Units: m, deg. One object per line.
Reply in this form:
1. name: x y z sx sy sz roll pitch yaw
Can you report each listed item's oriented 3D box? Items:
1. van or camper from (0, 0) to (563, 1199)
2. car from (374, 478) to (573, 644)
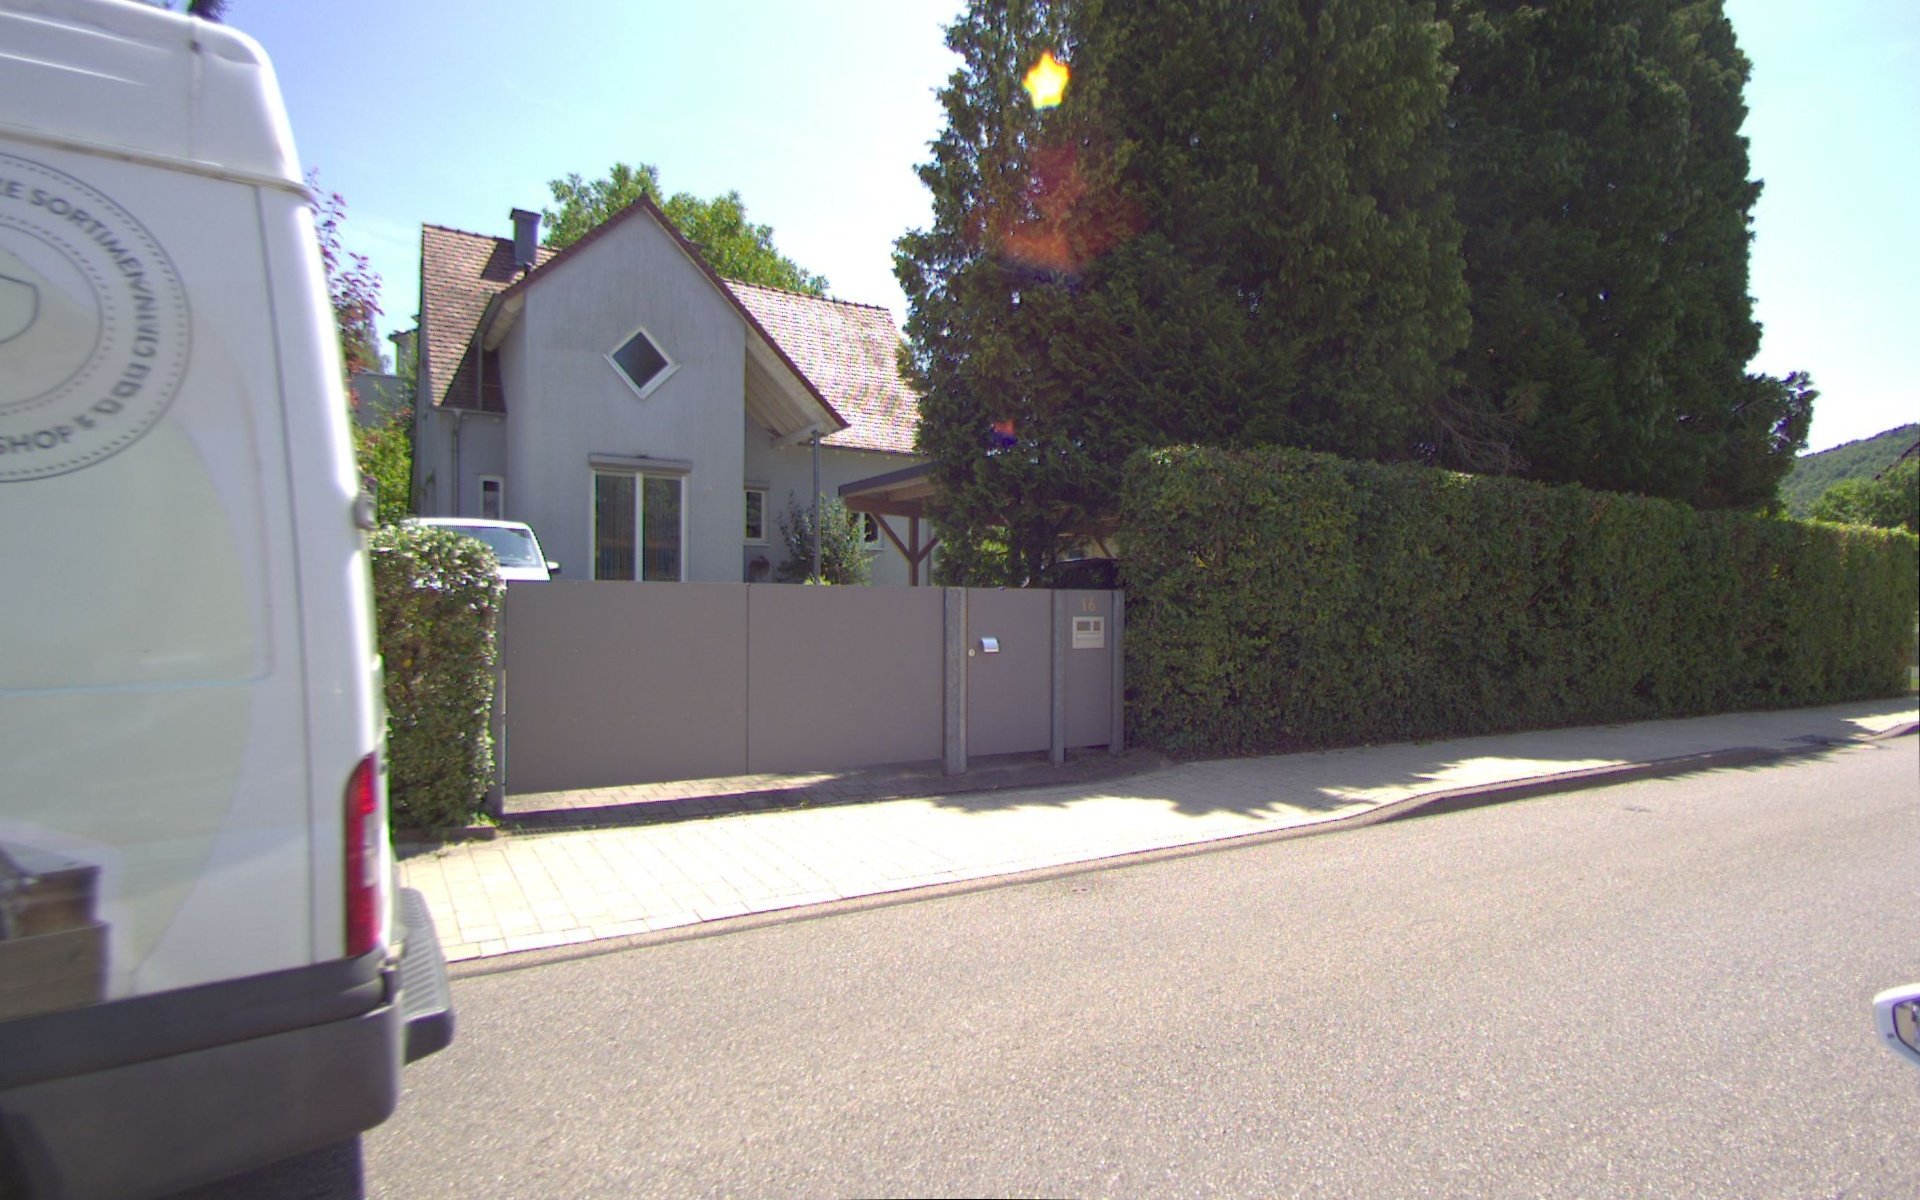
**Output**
1. van or camper: -3.782 0.021 1.294 5.760 2.749 2.026 2 1 -32
2. car: -7.048 -0.494 14.435 2.135 1.919 4.780 2 0 -28
